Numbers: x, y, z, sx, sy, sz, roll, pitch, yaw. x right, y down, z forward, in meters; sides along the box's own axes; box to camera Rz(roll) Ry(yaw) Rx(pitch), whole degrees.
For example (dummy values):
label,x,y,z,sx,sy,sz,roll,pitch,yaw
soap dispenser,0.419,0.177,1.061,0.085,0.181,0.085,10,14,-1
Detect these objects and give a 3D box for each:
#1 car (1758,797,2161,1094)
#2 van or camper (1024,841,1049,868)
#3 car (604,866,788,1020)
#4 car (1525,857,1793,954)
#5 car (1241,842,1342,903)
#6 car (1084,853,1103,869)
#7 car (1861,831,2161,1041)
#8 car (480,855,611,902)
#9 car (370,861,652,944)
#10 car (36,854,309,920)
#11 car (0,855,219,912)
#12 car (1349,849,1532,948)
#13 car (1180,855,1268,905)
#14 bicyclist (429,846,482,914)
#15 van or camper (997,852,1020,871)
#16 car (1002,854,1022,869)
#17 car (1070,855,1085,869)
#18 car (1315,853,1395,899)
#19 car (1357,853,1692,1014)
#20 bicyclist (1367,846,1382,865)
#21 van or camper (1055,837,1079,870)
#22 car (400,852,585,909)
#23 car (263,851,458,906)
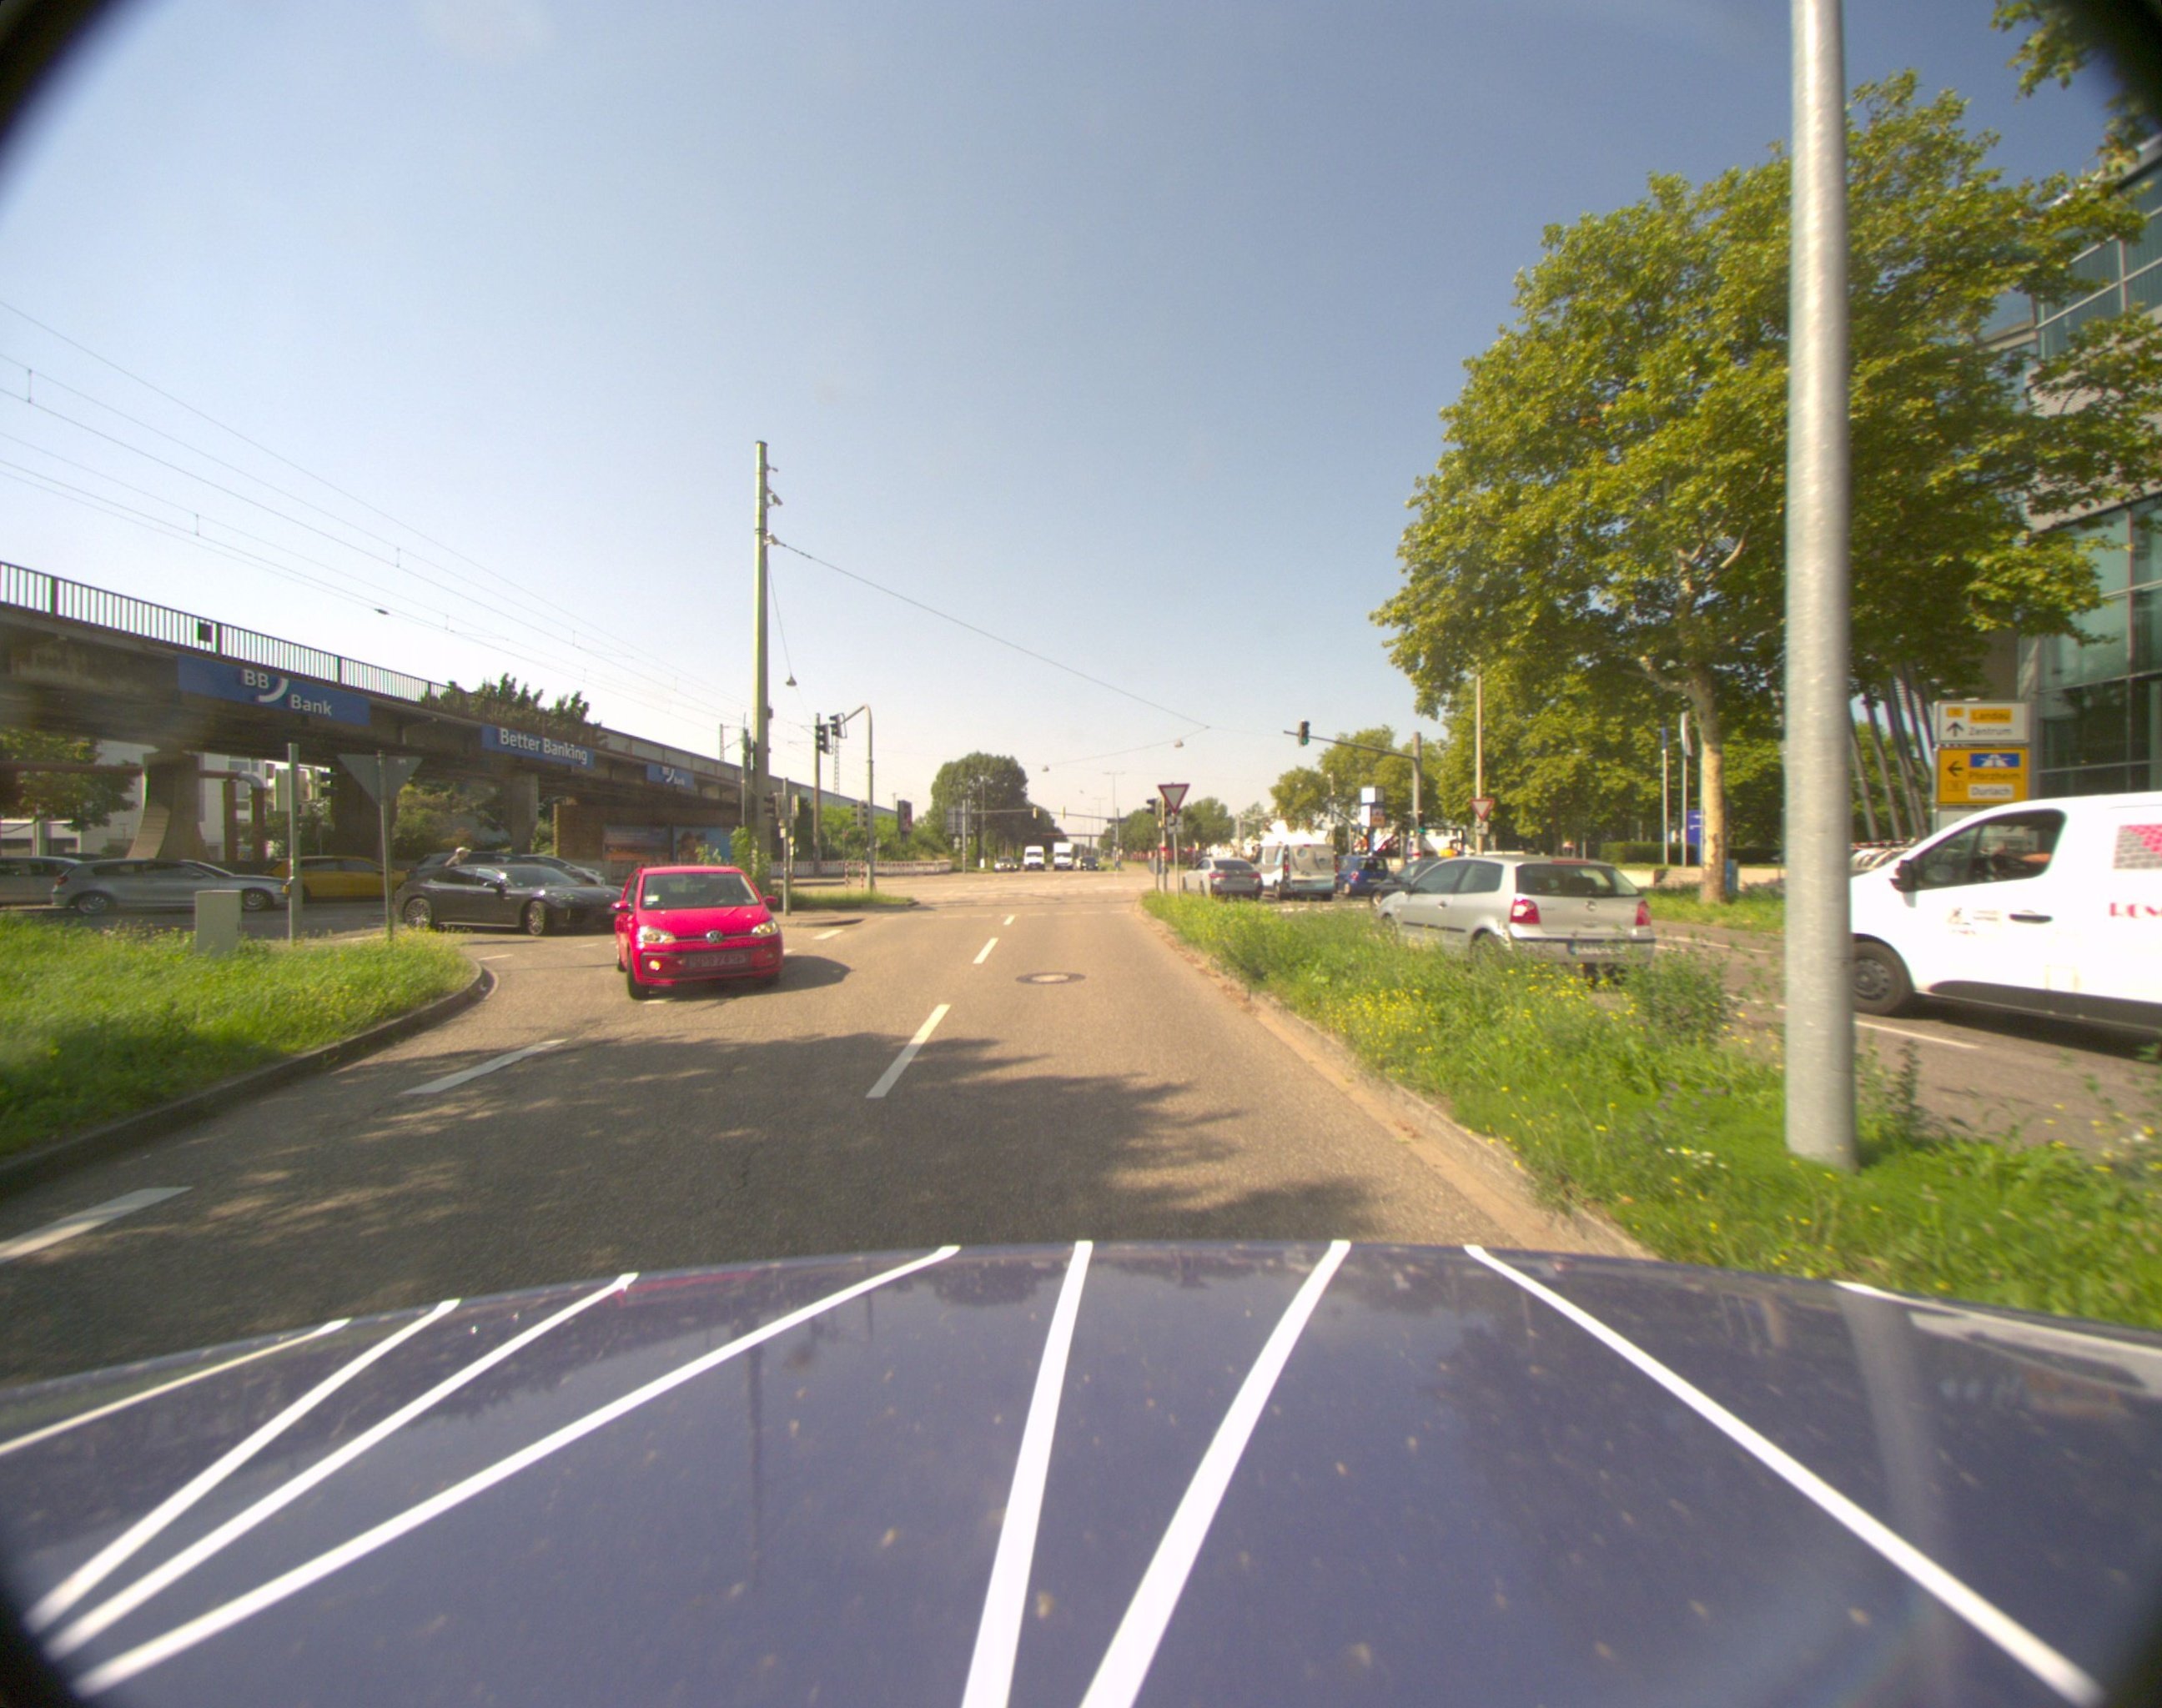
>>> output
label,x,y,z,sx,sy,sz,roll,pitch,yaw
car,8.071,0.619,5.330,1.932,1.949,5.189,1,0,0
van or camper,-4.575,0.095,78.775,2.248,2.467,6.867,-2,-2,-1
car,-5.077,0.951,9.776,1.646,1.459,3.544,-4,2,-33
car,10.867,0.870,14.771,1.784,1.502,4.257,1,1,-3
car,7.307,0.623,27.039,1.932,1.946,5.212,0,0,-3
car,1.376,0.801,83.951,1.905,1.603,5.198,-2,-2,1
car,10.642,0.756,7.357,1.932,1.885,3.974,1,1,-3
car,-19.293,0.827,27.430,3.703,1.529,1.722,-1,1,-40
car,-11.979,0.947,16.092,4.879,1.455,2.001,1,2,11
car,-23.711,0.808,20.150,4.357,1.512,1.994,1,1,-40
car,-27.355,0.804,21.031,4.357,1.461,1.995,2,-2,-40
car,7.679,0.832,16.845,1.722,1.838,4.702,1,1,-1
car,4.608,0.792,25.172,1.840,1.434,4.604,1,0,-2
bicyclist,-15.622,0.635,18.980,0.972,1.648,0.710,0,0,-42
van or camper,-7.230,0.783,75.723,1.850,1.765,4.175,-2,-2,-1
car,-7.435,0.796,82.229,1.999,1.543,3.999,-2,0,-3
car,-0.471,1.092,98.346,1.655,1.654,3.757,-2,-2,4
car,10.544,0.798,29.501,1.672,1.526,3.729,1,1,0
car,5.073,0.800,9.447,1.618,1.526,4.100,1,-1,-2
bicyclist,25.432,0.130,65.806,0.598,1.584,1.204,-2,-2,-13
van or camper,-1.508,0.003,83.147,2.248,3.341,6.853,-2,-2,1
car,-18.454,0.763,24.128,4.482,1.608,1.902,-1,2,-34
car,-22.847,0.771,24.366,4.357,1.564,1.994,2,0,-40
